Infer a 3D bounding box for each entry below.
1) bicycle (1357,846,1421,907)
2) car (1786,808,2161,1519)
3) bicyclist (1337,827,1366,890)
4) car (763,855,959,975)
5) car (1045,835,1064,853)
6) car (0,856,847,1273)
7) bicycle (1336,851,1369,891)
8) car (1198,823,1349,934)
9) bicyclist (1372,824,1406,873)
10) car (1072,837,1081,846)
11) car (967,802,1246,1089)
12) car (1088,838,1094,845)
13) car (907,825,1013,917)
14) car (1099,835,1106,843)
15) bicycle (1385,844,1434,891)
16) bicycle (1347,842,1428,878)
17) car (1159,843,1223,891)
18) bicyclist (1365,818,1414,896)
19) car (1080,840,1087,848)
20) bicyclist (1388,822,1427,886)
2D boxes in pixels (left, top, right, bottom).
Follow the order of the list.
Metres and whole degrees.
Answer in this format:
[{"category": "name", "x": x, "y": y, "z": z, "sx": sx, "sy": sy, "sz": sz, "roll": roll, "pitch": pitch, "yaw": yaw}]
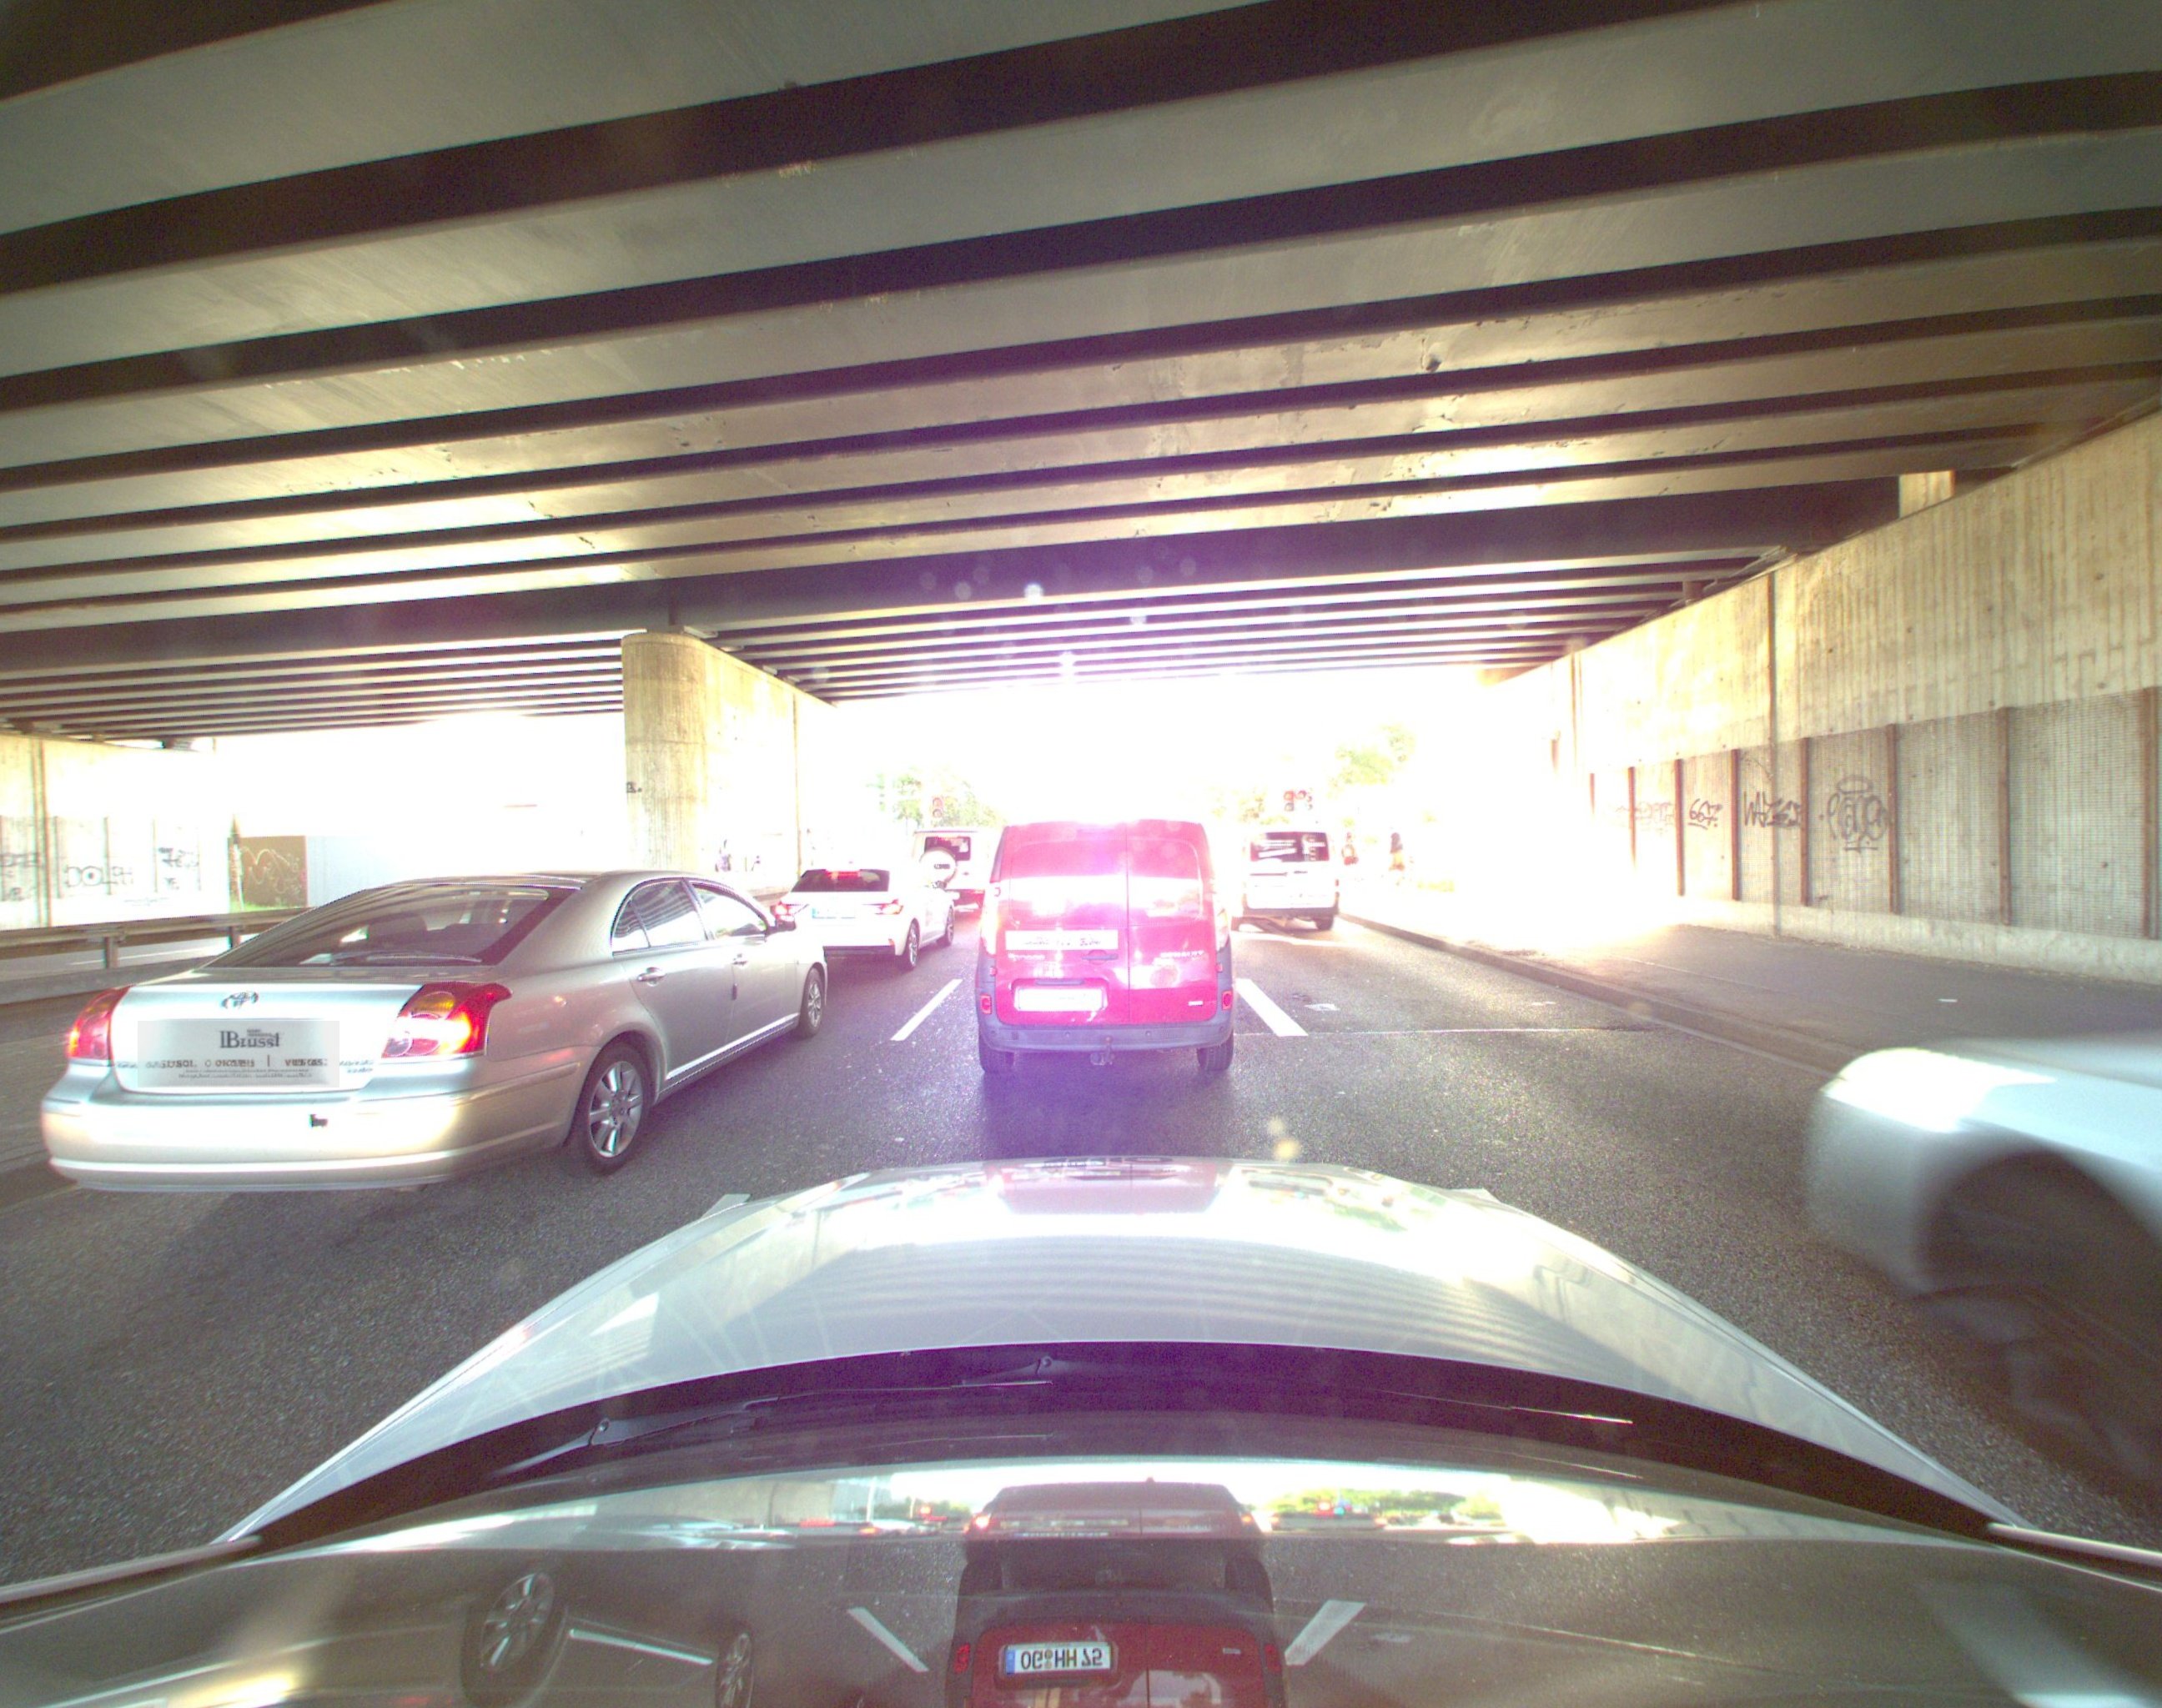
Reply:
[{"category": "bicycle", "x": 6.247, "y": 0.444, "z": 16.616, "sx": 0.648, "sy": 1.167, "sz": 1.779, "roll": -1, "pitch": 0, "yaw": 2}, {"category": "car", "x": 3.399, "y": 0.644, "z": 0.506, "sx": 1.989, "sy": 1.551, "sz": 4.416, "roll": -1, "pitch": -1, "yaw": -2}, {"category": "bicyclist", "x": 7.181, "y": 0.116, "z": 21.635, "sx": 0.673, "sy": 1.629, "sz": 0.646, "roll": 0, "pitch": -1, "yaw": 12}, {"category": "car", "x": -2.923, "y": 0.727, "z": 11.661, "sx": 1.686, "sy": 1.410, "sz": 3.814, "roll": 0, "pitch": 0, "yaw": 1}, {"category": "car", "x": -3.096, "y": -1.159, "z": 95.104, "sx": 1.986, "sy": 2.014, "sz": 4.001, "roll": 0, "pitch": 0, "yaw": 2}, {"category": "car", "x": -2.995, "y": 0.756, "z": 5.102, "sx": 1.690, "sy": 1.455, "sz": 4.399, "roll": 0, "pitch": 0, "yaw": 1}, {"category": "bicycle", "x": 7.162, "y": 0.434, "z": 21.542, "sx": 0.672, "sy": 1.024, "sz": 1.534, "roll": 0, "pitch": 0, "yaw": 12}, {"category": "car", "x": 3.554, "y": 0.394, "z": 16.002, "sx": 1.891, "sy": 1.836, "sz": 4.836, "roll": 0, "pitch": 0, "yaw": 1}, {"category": "bicyclist", "x": 10.470, "y": -0.180, "z": 27.723, "sx": 0.879, "sy": 1.655, "sz": 0.750, "roll": -1, "pitch": 0, "yaw": 4}, {"category": "car", "x": -0.972, "y": -2.784, "z": 182.356, "sx": 1.741, "sy": 2.014, "sz": 3.846, "roll": 0, "pitch": 0, "yaw": 2}, {"category": "car", "x": 0.220, "y": 0.565, "z": 7.051, "sx": 1.712, "sy": 1.764, "sz": 4.002, "roll": 0, "pitch": 0, "yaw": 2}, {"category": "car", "x": 3.248, "y": -4.062, "z": 259.521, "sx": 1.922, "sy": 2.014, "sz": 3.915, "roll": 0, "pitch": 0, "yaw": 2}, {"category": "car", "x": -2.701, "y": 0.351, "z": 19.020, "sx": 1.807, "sy": 1.904, "sz": 3.814, "roll": 0, "pitch": 0, "yaw": 1}, {"category": "car", "x": 5.828, "y": -4.013, "z": 220.850, "sx": 1.986, "sy": 2.014, "sz": 4.001, "roll": 0, "pitch": 0, "yaw": 2}, {"category": "bicycle", "x": 8.232, "y": 0.333, "z": 20.459, "sx": 0.678, "sy": 1.113, "sz": 1.606, "roll": -2, "pitch": -1, "yaw": 4}, {"category": "bicycle", "x": 10.416, "y": 0.200, "z": 27.735, "sx": 2.450, "sy": 1.146, "sz": 0.769, "roll": -1, "pitch": 0, "yaw": 4}, {"category": "car", "x": 3.555, "y": 0.398, "z": 26.883, "sx": 1.739, "sy": 1.456, "sz": 3.719, "roll": 0, "pitch": 0, "yaw": 2}, {"category": "bicyclist", "x": 6.237, "y": 0.054, "z": 16.501, "sx": 0.650, "sy": 1.534, "sz": 0.847, "roll": -1, "pitch": 0, "yaw": 1}, {"category": "car", "x": 0.666, "y": -2.560, "z": 217.146, "sx": 1.986, "sy": 2.014, "sz": 4.001, "roll": 0, "pitch": 0, "yaw": 2}, {"category": "bicyclist", "x": 8.226, "y": -0.007, "z": 20.528, "sx": 0.667, "sy": 1.561, "sz": 0.736, "roll": -2, "pitch": -1, "yaw": 4}]
